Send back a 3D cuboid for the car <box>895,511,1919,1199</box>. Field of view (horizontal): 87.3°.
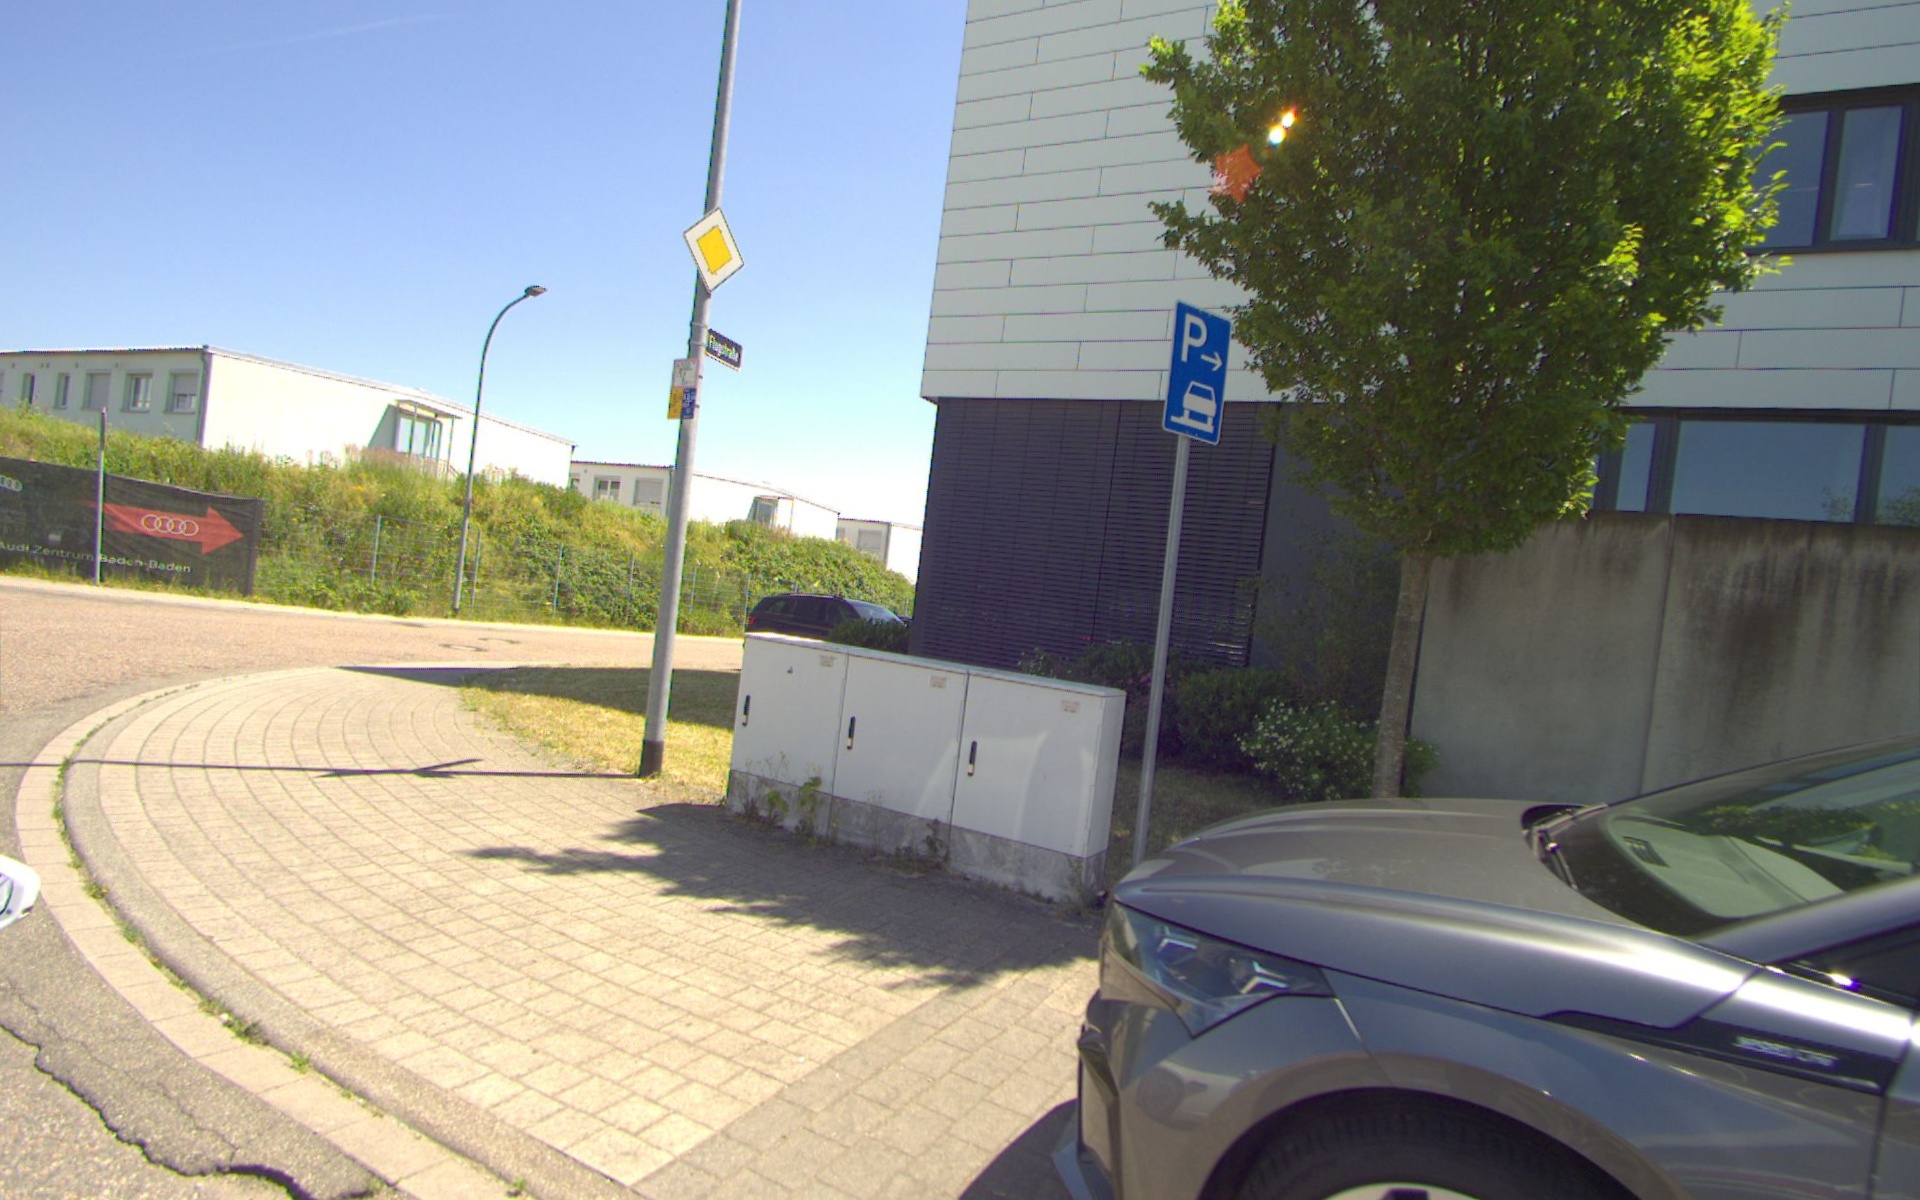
[{"bbox_3d":[2.325,0.945,1.750,4.528,1.684,1.805,7,3,28],"label":"car"}]

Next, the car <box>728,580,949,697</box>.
[{"bbox_3d":[-2.395,0.732,19.539,3.935,1.787,1.721,6,-1,33],"label":"car"}]
